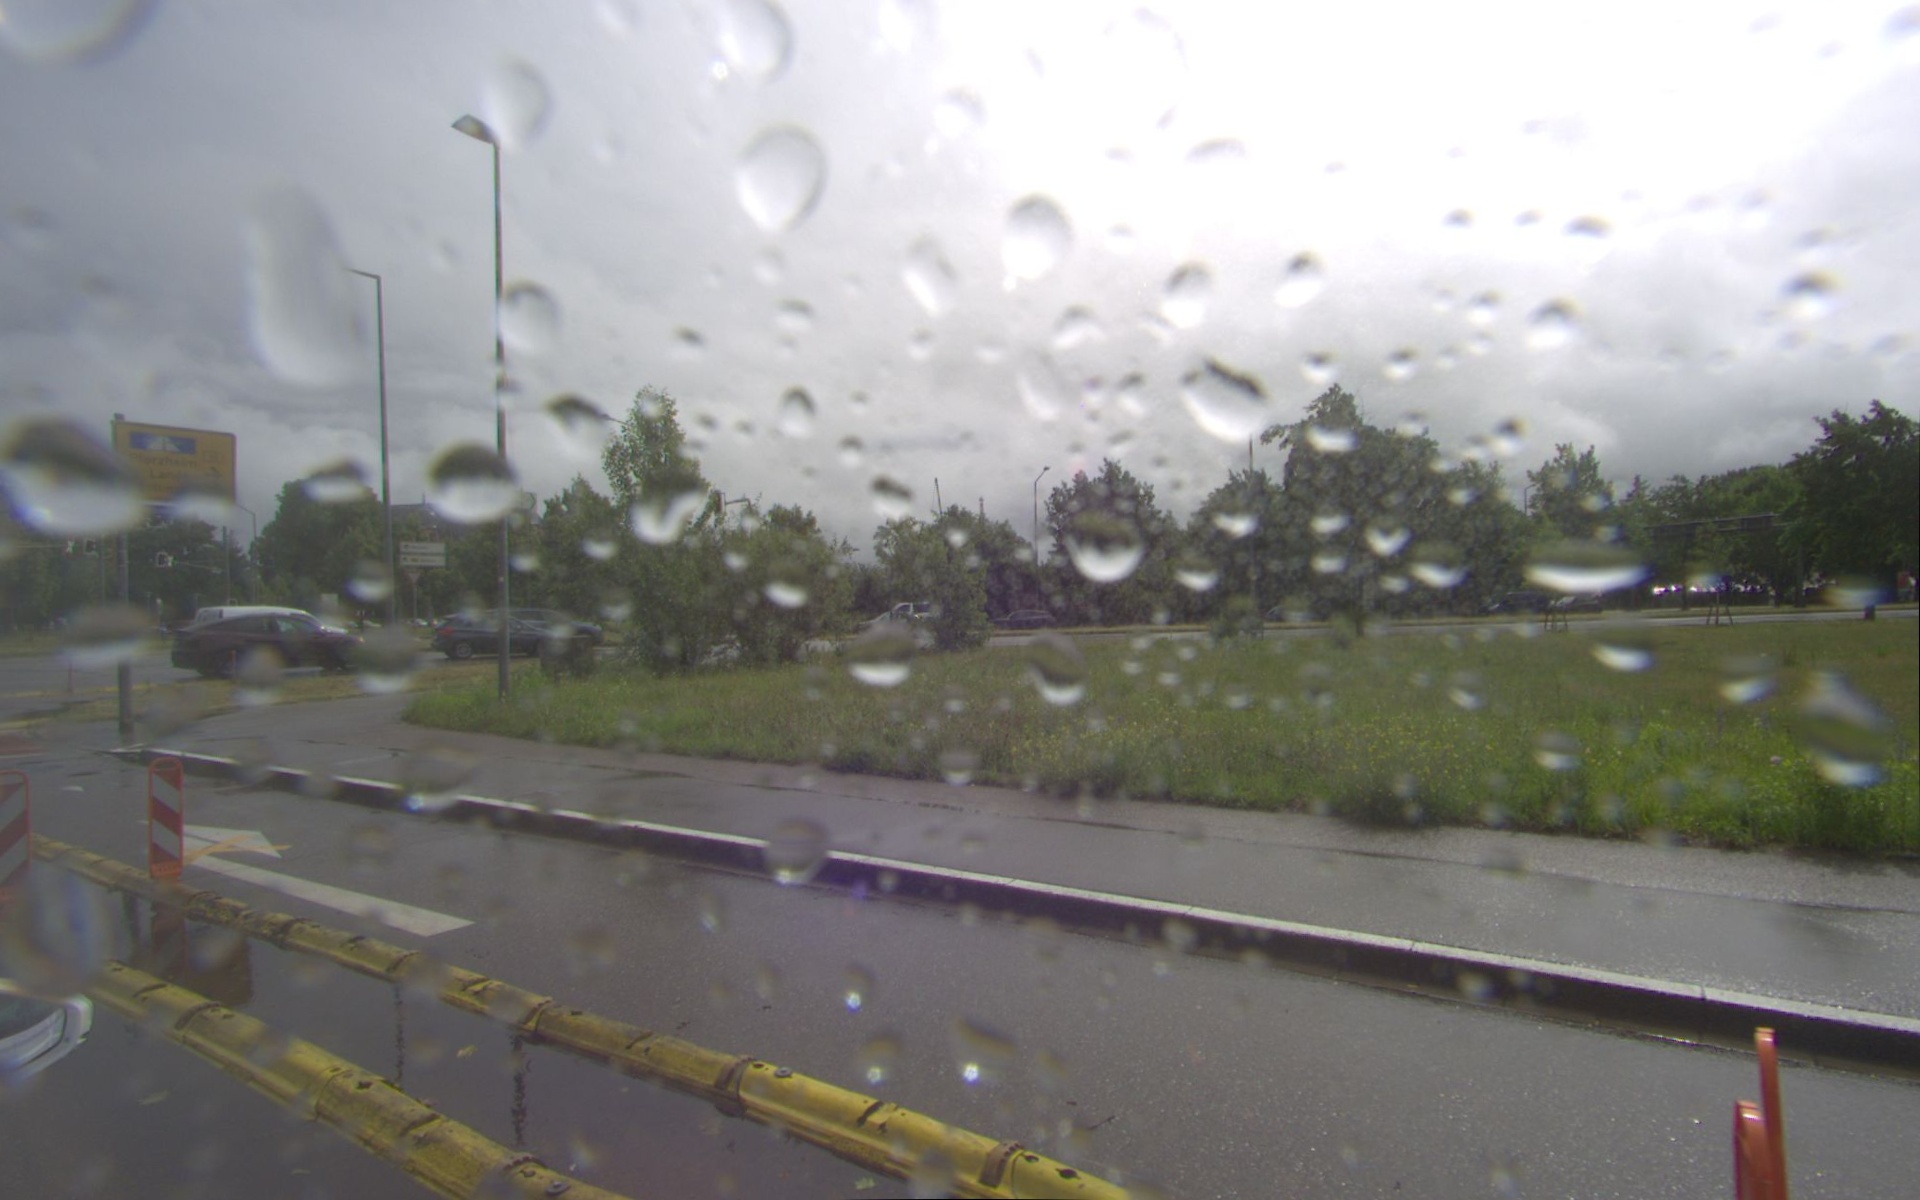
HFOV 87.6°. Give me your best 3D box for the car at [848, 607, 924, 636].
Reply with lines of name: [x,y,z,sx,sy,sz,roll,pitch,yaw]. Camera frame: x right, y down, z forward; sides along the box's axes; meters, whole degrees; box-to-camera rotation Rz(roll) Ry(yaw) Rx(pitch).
car: [-4.195,1.196,56.506,4.039,1.581,1.912,-1,0,-14]

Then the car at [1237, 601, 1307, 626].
car: [20.520,0.896,65.851,4.157,1.579,1.541,-1,0,-13]

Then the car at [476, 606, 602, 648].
car: [-16.694,1.056,39.798,4.347,1.568,1.857,0,0,-35]

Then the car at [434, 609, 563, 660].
car: [-16.326,1.184,35.486,3.905,1.666,1.659,0,0,-37]

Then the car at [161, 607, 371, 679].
car: [-18.853,1.091,27.367,1.976,1.748,4.323,-1,0,39]

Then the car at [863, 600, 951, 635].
car: [-3.167,1.014,59.764,4.872,1.944,1.997,-1,0,-16]

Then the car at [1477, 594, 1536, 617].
car: [38.428,0.378,70.422,3.459,1.579,1.541,-1,0,-13]

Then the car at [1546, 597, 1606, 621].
car: [42.571,0.604,69.204,3.459,1.579,1.541,-1,0,-13]

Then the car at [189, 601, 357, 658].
car: [-23.450,0.963,34.362,1.841,1.833,4.386,-1,-1,28]

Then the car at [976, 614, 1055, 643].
car: [3.216,1.631,58.166,4.226,1.581,1.912,-1,0,-14]
